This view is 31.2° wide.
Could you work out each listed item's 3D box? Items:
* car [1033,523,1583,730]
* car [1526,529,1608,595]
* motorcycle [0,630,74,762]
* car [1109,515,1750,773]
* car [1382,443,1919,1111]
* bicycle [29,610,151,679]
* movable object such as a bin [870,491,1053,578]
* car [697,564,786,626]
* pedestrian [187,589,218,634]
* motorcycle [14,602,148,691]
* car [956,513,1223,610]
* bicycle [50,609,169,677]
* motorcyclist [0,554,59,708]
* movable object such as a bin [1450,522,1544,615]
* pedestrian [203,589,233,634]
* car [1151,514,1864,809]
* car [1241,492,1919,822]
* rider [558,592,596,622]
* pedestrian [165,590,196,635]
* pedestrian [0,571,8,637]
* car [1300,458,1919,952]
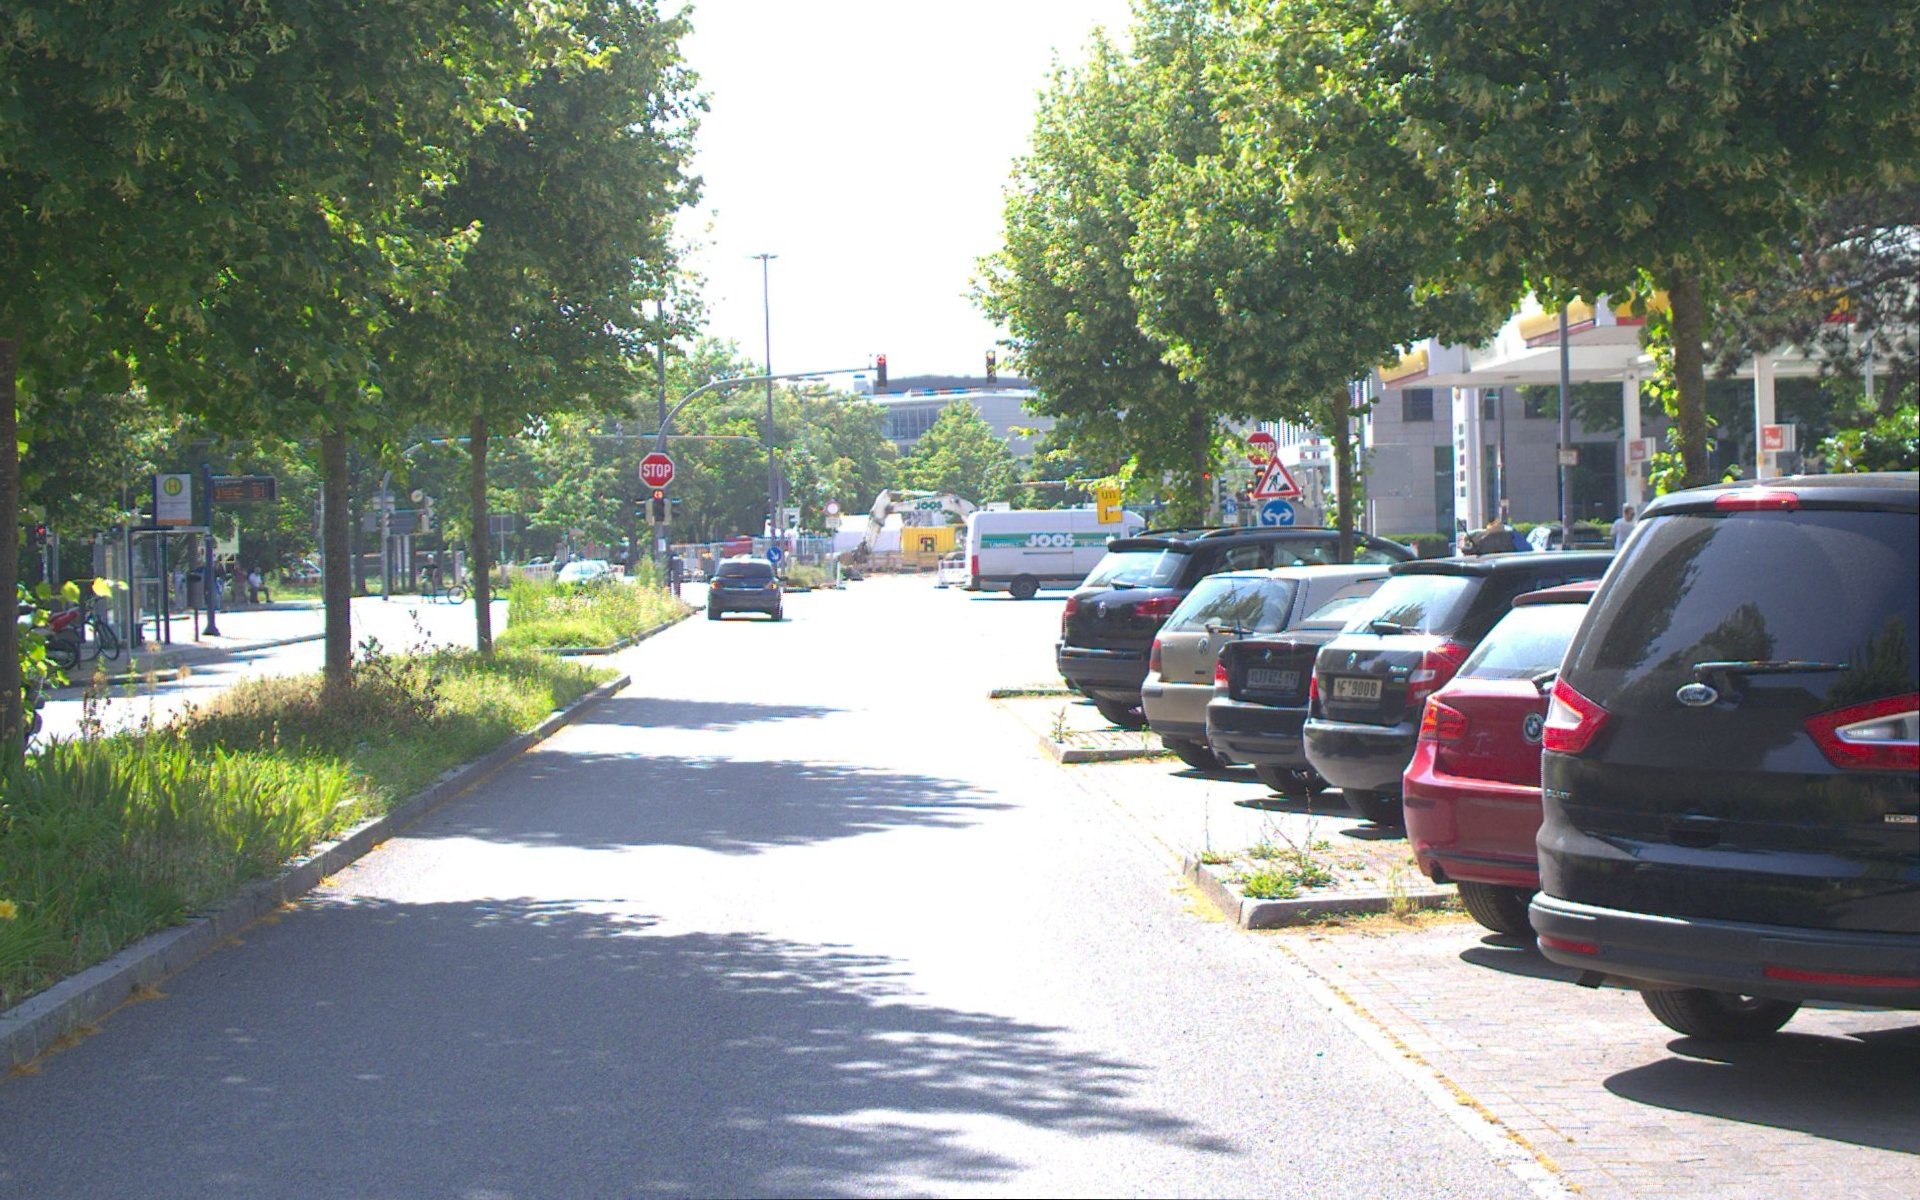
[{"bbox_3d":[3.068,0.190,29.770,4.731,1.654,1.752,-1,0,-35],"label":"car"},{"bbox_3d":[13.341,-0.816,75.693,1.650,1.393,3.640,-1,0,9],"label":"car"},{"bbox_3d":[-7.843,0.755,27.572,0.923,0.989,2.235,-1,0,-1],"label":"motorcycle"},{"bbox_3d":[3.201,0.277,23.711,3.986,1.634,1.753,-1,0,-14],"label":"car"},{"bbox_3d":[3.503,0.408,10.322,4.107,1.634,2.044,-1,0,-35],"label":"car"},{"bbox_3d":[-14.497,0.738,57.306,1.845,1.102,0.693,-1,0,-1],"label":"bicycle"},{"bbox_3d":[0.081,-3.478,184.335,9.675,4.534,3.164,-1,0,0],"label":"movable object such as a bin"},{"bbox_3d":[-5.204,-0.118,81.557,1.993,1.393,4.001,-1,0,-5],"label":"car"},{"bbox_3d":[-27.238,0.418,123.633,0.655,1.606,0.941,-1,0,21],"label":"pedestrian"},{"bbox_3d":[-13.004,0.684,50.917,1.845,1.280,0.693,-1,0,-8],"label":"motorcycle"},{"bbox_3d":[3.724,-1.134,100.216,7.427,2.665,2.903,-1,1,-5],"label":"car"},{"bbox_3d":[-14.501,0.730,58.631,1.845,1.118,0.693,-1,0,-1],"label":"bicycle"},{"bbox_3d":[-7.855,0.249,27.736,0.900,1.217,1.062,-1,0,-1],"label":"motorcyclist"},{"bbox_3d":[9.669,-0.562,61.965,1.307,1.587,1.396,-3,0,-4],"label":"movable object such as a bin"},{"bbox_3d":[-26.529,0.406,122.922,0.655,1.606,0.941,-1,0,21],"label":"pedestrian"},{"bbox_3d":[3.354,0.320,21.066,3.986,1.634,1.753,-1,1,-24],"label":"car"},{"bbox_3d":[3.737,0.262,18.732,3.986,1.634,1.801,-1,0,-21],"label":"car"},{"bbox_3d":[-15.191,0.276,136.409,1.391,1.192,2.698,-1,0,-4],"label":"rider"},{"bbox_3d":[-28.037,0.430,123.646,0.655,1.606,0.941,-1,0,21],"label":"pedestrian"},{"bbox_3d":[-25.505,0.119,90.702,0.658,1.720,0.753,-1,0,-20],"label":"pedestrian"},{"bbox_3d":[3.466,0.345,13.294,3.987,1.634,1.880,-1,-1,-35],"label":"car"}]
